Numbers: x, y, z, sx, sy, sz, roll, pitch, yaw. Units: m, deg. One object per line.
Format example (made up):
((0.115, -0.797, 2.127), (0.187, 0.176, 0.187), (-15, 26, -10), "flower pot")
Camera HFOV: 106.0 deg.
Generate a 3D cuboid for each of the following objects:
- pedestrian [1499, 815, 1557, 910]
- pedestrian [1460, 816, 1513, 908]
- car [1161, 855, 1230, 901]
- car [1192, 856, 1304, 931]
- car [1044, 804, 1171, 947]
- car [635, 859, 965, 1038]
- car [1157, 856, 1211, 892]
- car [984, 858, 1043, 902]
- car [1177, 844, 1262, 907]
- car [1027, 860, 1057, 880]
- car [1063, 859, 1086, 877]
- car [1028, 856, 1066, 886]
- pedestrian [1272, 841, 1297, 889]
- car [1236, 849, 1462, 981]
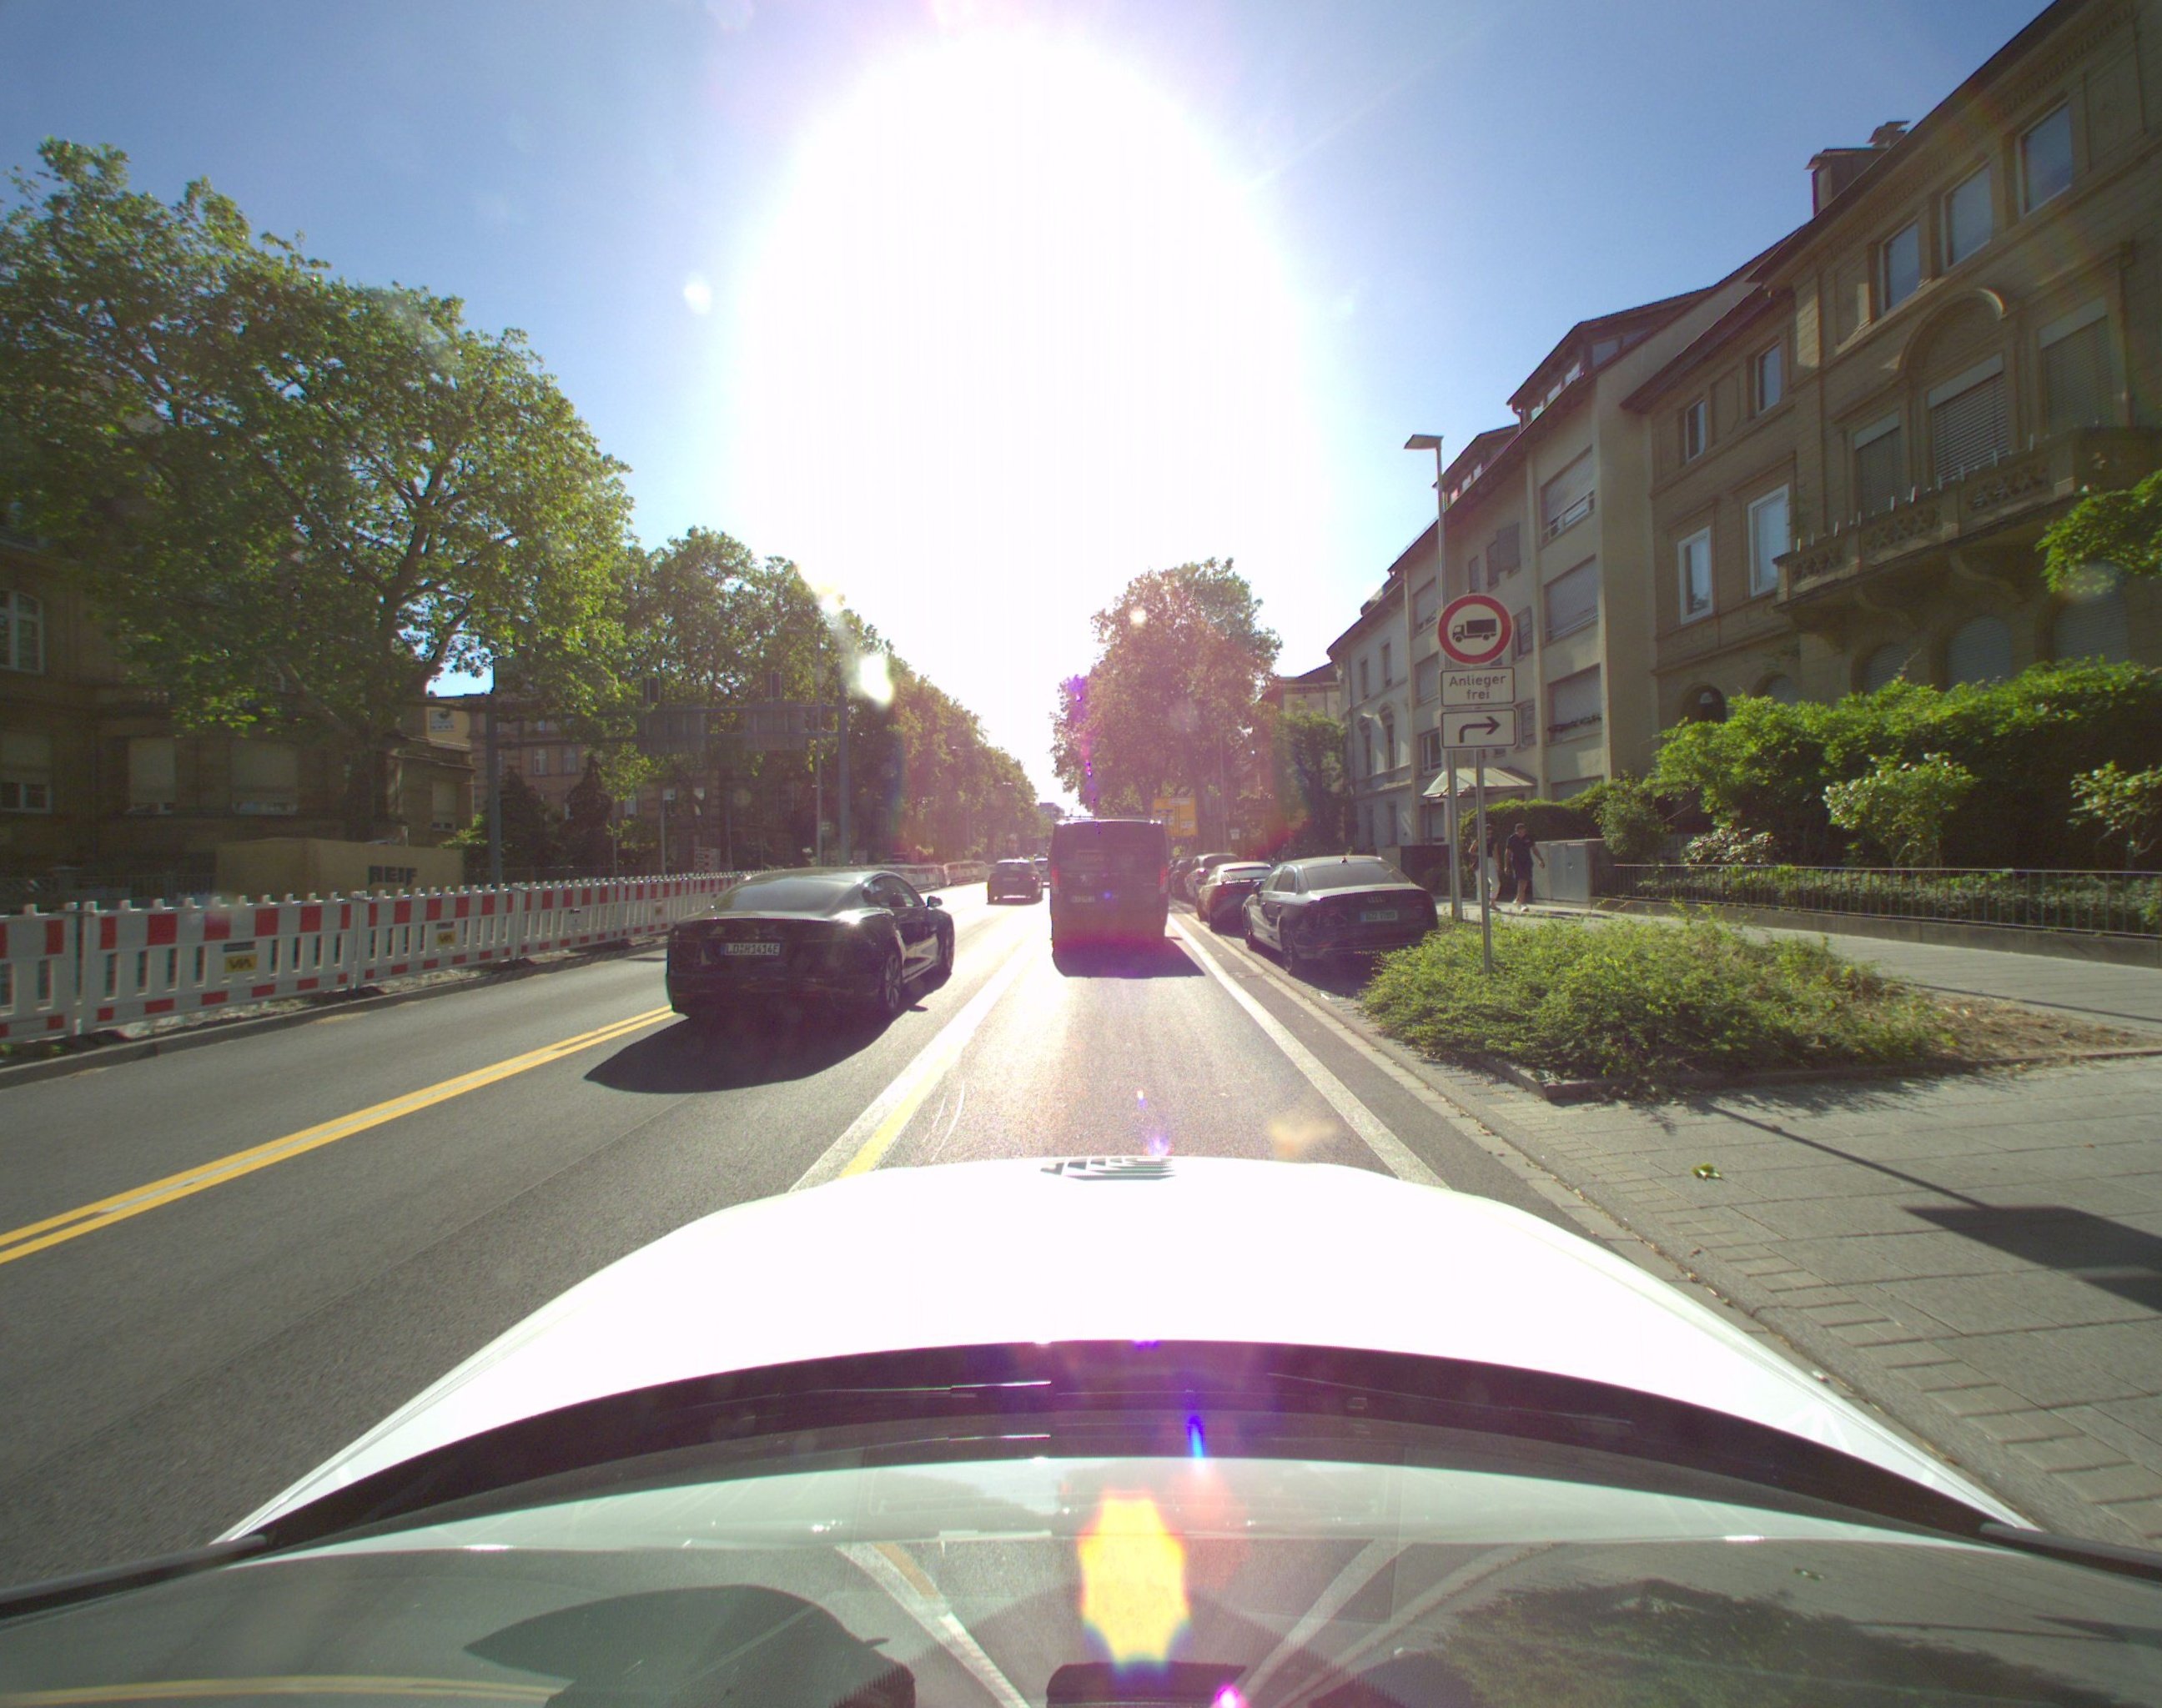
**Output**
((8.685, 0.162, 15.870), (0.650, 1.755, 1.016), (-2, -1, 11), "pedestrian")
((8.011, 0.152, 16.111), (0.671, 1.755, 0.877), (-2, -1, 11), "pedestrian")
((3.928, 0.784, 28.448), (1.838, 1.408, 3.800), (-3, 0, 0), "car")
((3.506, 0.778, 17.717), (1.836, 1.408, 3.804), (-2, 0, 3), "car")
((0.467, 0.346, 15.480), (2.088, 2.355, 3.933), (-1, 0, 0), "car")
((-2.678, 0.802, 9.111), (1.917, 1.412, 4.628), (1, 0, 2), "car")
((4.392, 0.824, 35.174), (1.838, 1.411, 3.800), (-2, 0, 0), "car")
((-2.311, 0.867, 28.696), (1.740, 1.407, 3.999), (0, 0, 0), "car")
((4.075, 0.616, 24.498), (1.838, 1.644, 3.800), (-3, 0, 0), "car")
((-3.028, 1.241, 64.437), (1.986, 1.470, 4.003), (0, 1, 2), "car")
((-0.451, 1.011, 59.620), (1.415, 1.225, 3.440), (-2, -1, 3), "car")
((-1.727, 0.863, 42.526), (1.541, 1.425, 3.559), (-2, -1, 4), "car")
((8.748, 0.483, 35.019), (0.794, 2.014, 1.170), (-2, -1, 6), "pedestrian")
((3.481, 0.709, 11.544), (1.837, 1.442, 4.489), (-2, 0, 2), "car")
